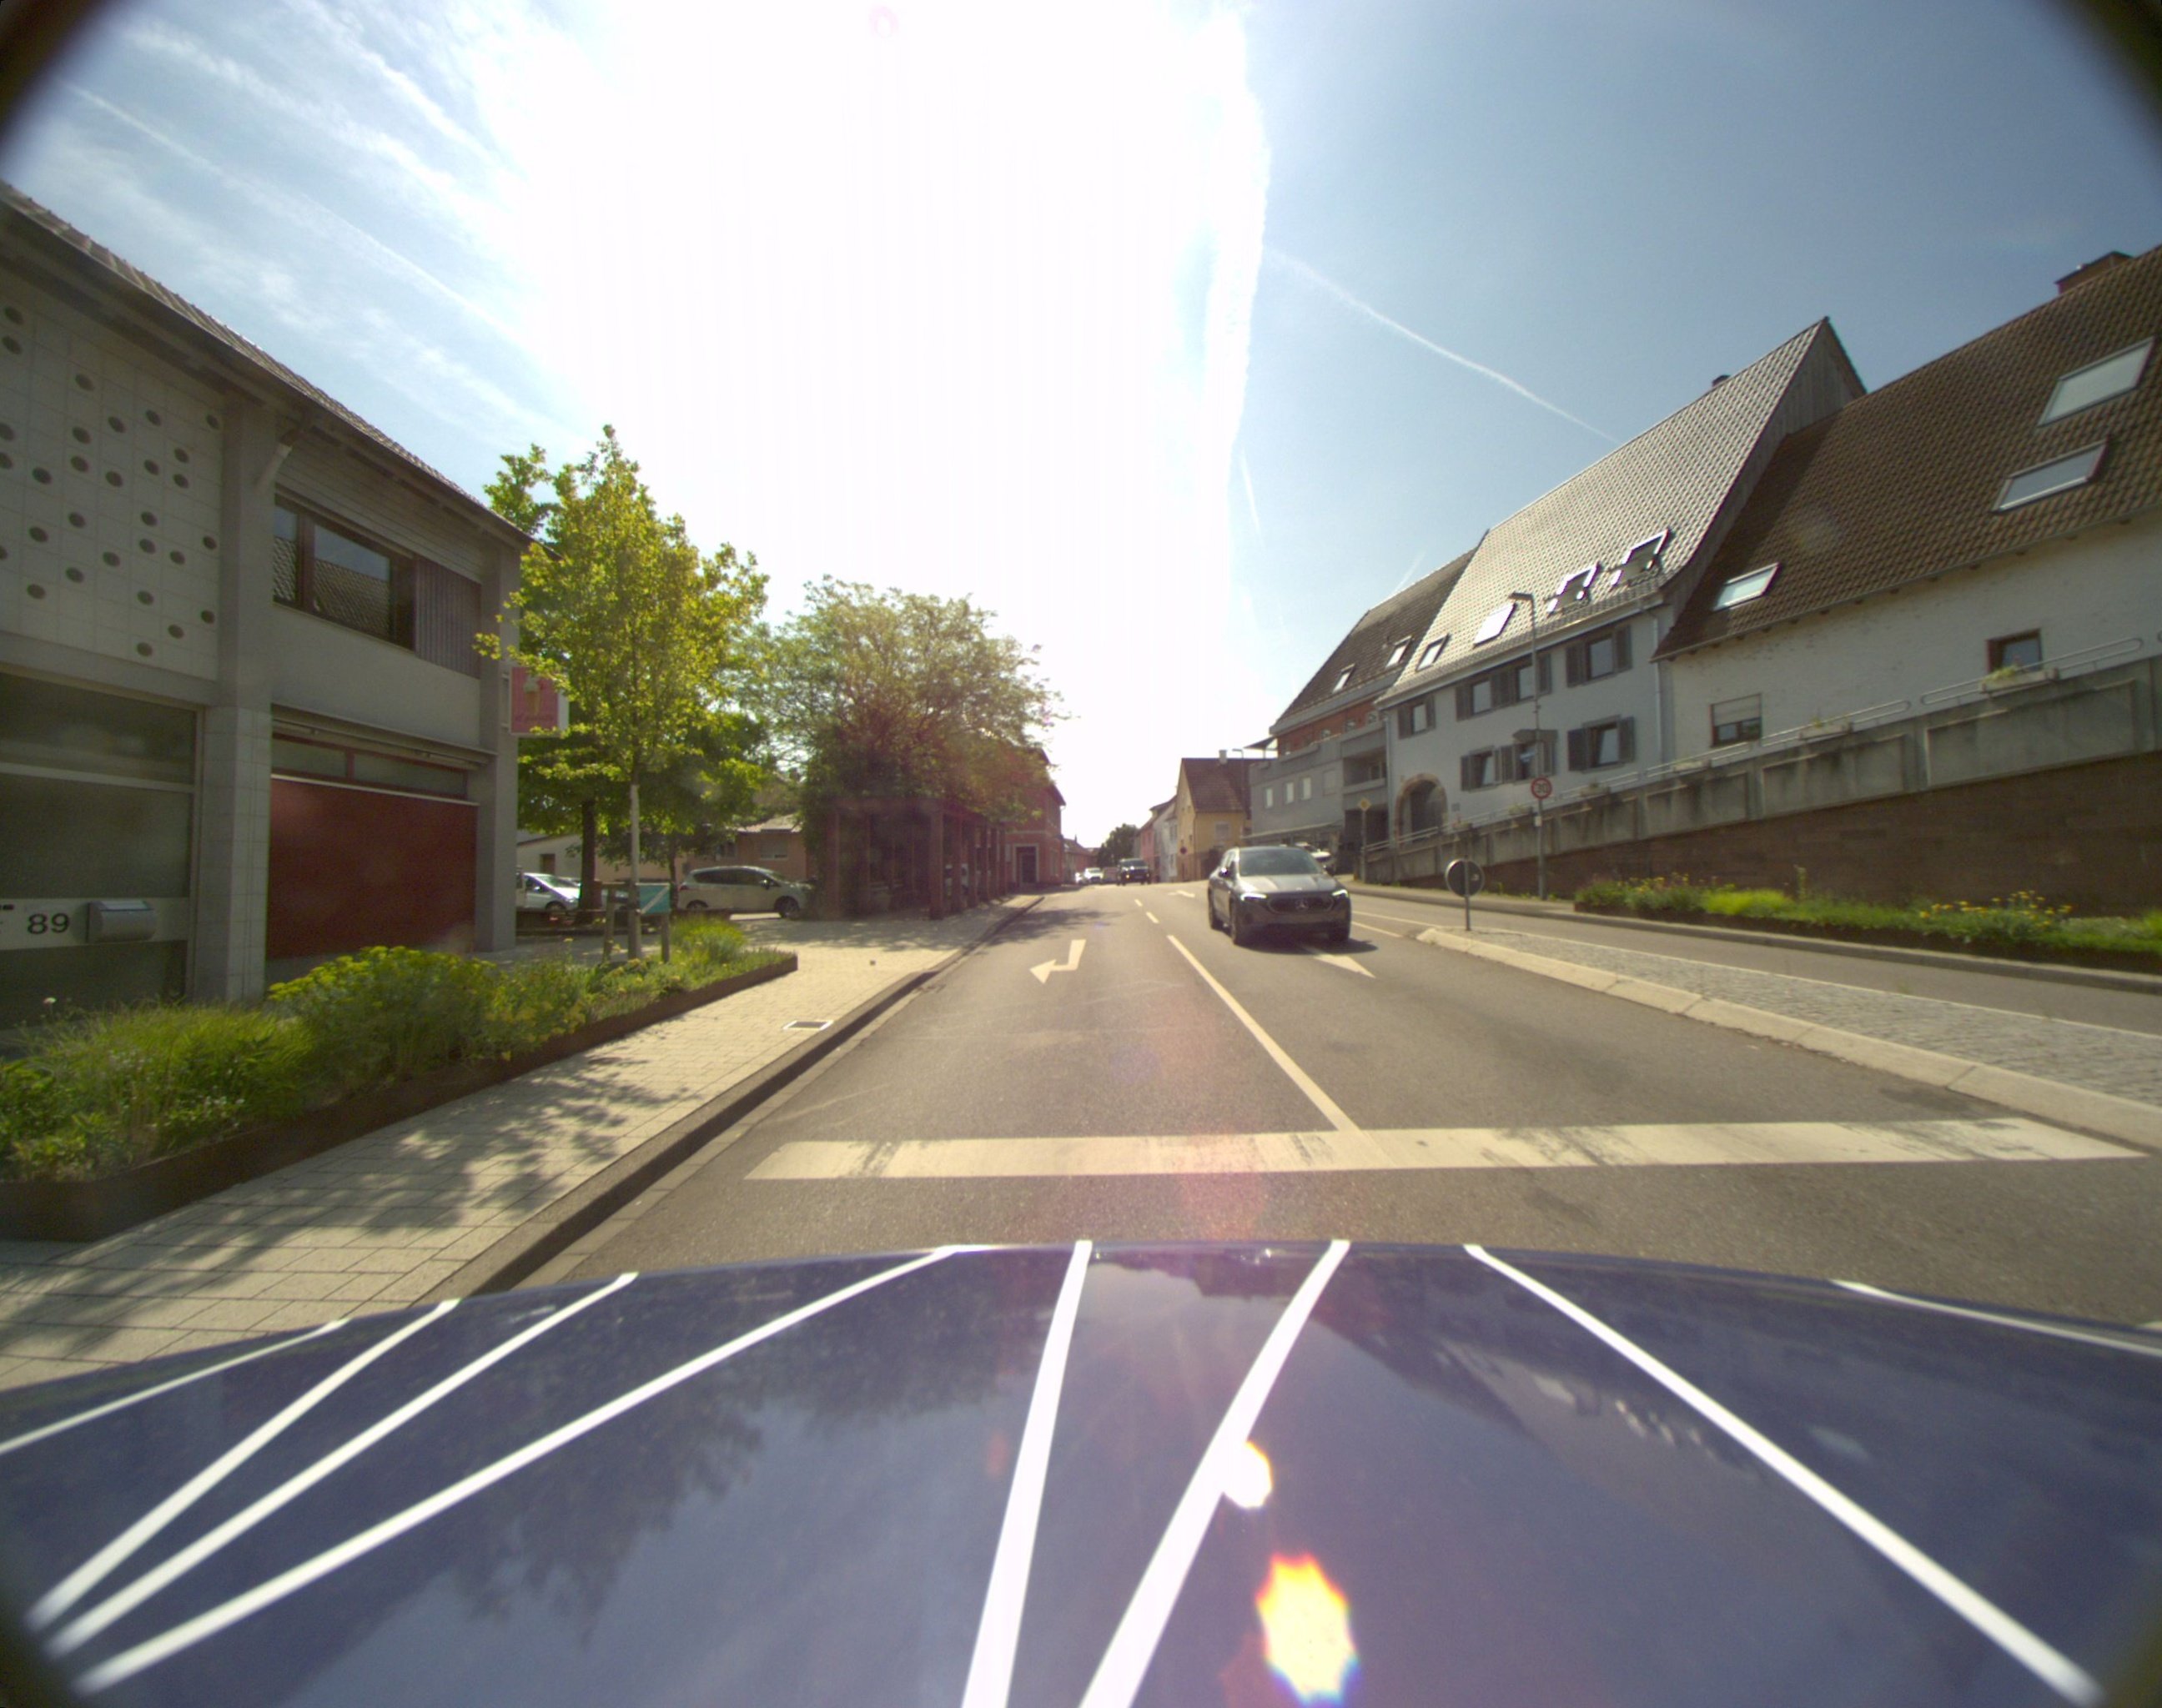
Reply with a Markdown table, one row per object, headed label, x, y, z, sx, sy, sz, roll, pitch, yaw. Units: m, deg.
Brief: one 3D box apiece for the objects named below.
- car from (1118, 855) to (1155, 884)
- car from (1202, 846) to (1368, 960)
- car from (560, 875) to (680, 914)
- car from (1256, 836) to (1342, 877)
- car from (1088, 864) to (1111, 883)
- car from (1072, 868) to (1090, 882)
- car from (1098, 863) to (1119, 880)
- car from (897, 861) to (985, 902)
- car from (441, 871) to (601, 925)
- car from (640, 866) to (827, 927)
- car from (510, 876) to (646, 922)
| label | x | y | z | sx | sy | sz | roll | pitch | yaw |
| --- | --- | --- | --- | --- | --- | --- | --- | --- | --- |
| car | 3.371 | 0.914 | 46.782 | 1.792 | 1.642 | 4.393 | -2 | 0 | -2 |
| car | 3.311 | 0.713 | 13.210 | 1.737 | 1.564 | 4.290 | -3 | 0 | 1 |
| car | -18.602 | 1.625 | 30.778 | 3.881 | 1.423 | 1.521 | -2 | 0 | -1 |
| car | 10.454 | 0.130 | 36.915 | 1.811 | 1.787 | 5.281 | -2 | 0 | -10 |
| car | 1.604 | 1.742 | 68.751 | 1.780 | 1.533 | 4.098 | -2 | 0 | -2 |
| car | 0.034 | 2.441 | 89.473 | 1.836 | 1.533 | 4.171 | -2 | 0 | 3 |
| car | 3.132 | 2.048 | 87.906 | 1.974 | 1.921 | 5.313 | -1 | -1 | -4 |
| car | -7.420 | 1.419 | 40.407 | 4.096 | 1.743 | 1.813 | -6 | -1 | 6 |
| car | -18.680 | 1.453 | 25.457 | 3.982 | 1.602 | 1.756 | -2 | 0 | -1 |
| car | -9.798 | 1.176 | 21.679 | 4.492 | 1.535 | 1.725 | -2 | 0 | -1 |
| car | -18.523 | 1.634 | 28.096 | 3.881 | 1.481 | 1.654 | -2 | 0 | -1 |
